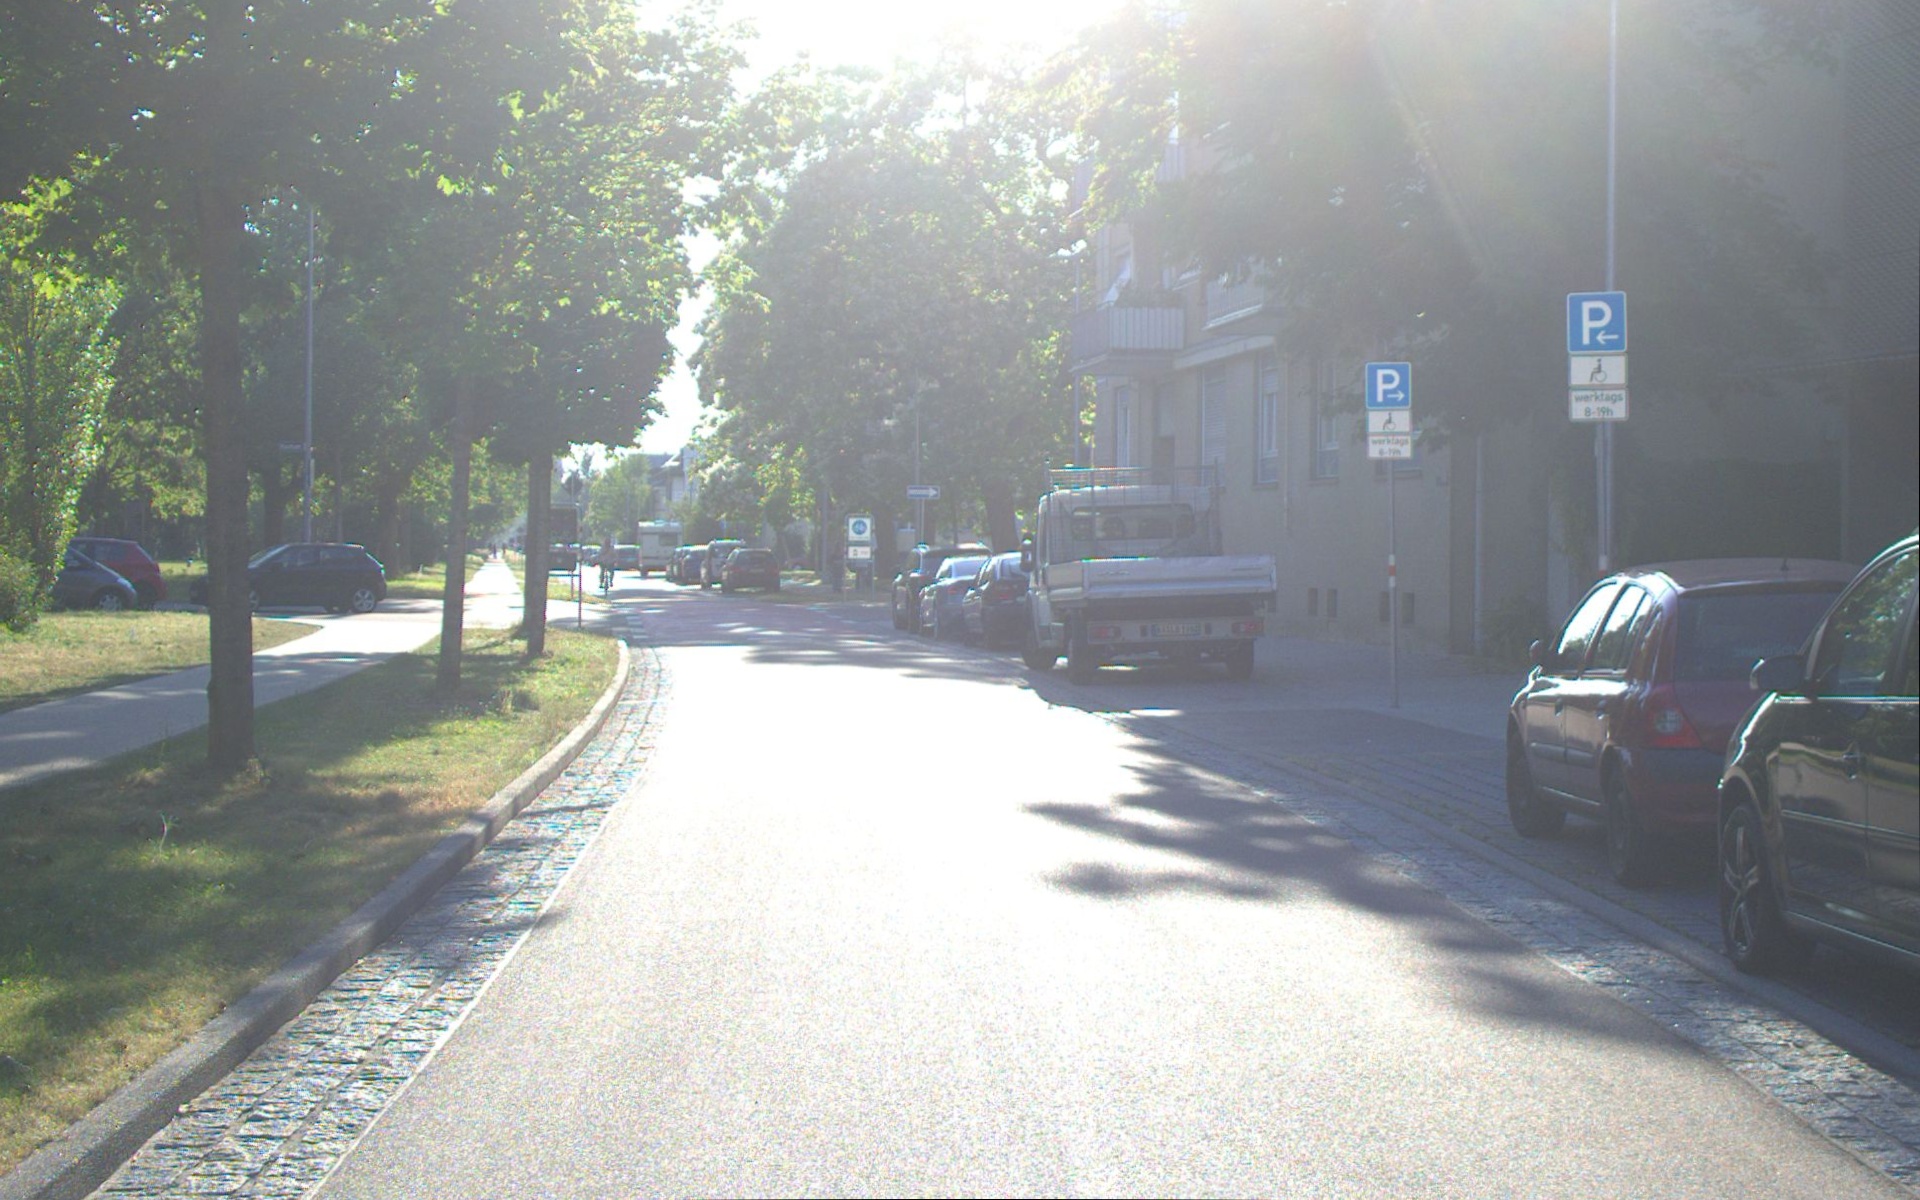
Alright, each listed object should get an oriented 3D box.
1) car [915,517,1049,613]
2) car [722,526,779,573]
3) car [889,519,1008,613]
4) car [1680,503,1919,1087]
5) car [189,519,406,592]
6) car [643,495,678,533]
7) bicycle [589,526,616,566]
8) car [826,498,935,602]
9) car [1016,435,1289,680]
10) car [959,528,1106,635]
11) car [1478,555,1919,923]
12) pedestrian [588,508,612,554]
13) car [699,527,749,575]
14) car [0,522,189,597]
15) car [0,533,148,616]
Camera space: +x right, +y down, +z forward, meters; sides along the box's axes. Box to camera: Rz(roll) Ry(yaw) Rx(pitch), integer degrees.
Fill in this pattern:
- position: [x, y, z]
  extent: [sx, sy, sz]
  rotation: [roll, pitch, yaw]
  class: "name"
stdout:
- position: [0.329, -0.605, 56.141]
  extent: [1.690, 1.435, 4.105]
  rotation: [-1, 2, -6]
  class: "car"
- position: [-6.946, -1.695, 114.348]
  extent: [1.793, 1.504, 4.001]
  rotation: [0, 2, -2]
  class: "car"
- position: [-0.246, -0.640, 62.149]
  extent: [1.690, 1.560, 4.105]
  rotation: [-1, 2, -6]
  class: "car"
- position: [3.631, 0.551, 10.676]
  extent: [1.724, 1.663, 4.115]
  rotation: [-2, 2, -3]
  class: "car"
- position: [-13.559, -0.929, 70.435]
  extent: [3.987, 1.415, 1.772]
  rotation: [-1, 2, -32]
  class: "car"
- position: [-15.701, -4.527, 180.400]
  extent: [1.793, 1.992, 4.001]
  rotation: [0, 2, -5]
  class: "car"
- position: [-11.108, -1.696, 106.854]
  extent: [0.688, 1.198, 2.343]
  rotation: [0, 2, -2]
  class: "bicycle"
- position: [-1.629, -1.028, 69.005]
  extent: [1.822, 2.006, 3.606]
  rotation: [0, 2, -7]
  class: "car"
- position: [2.103, -0.562, 39.598]
  extent: [2.211, 2.521, 6.149]
  rotation: [-2, 2, -5]
  class: "car"
- position: [1.033, -0.304, 50.860]
  extent: [1.690, 1.435, 3.551]
  rotation: [-1, 2, -6]
  class: "car"
- position: [3.675, 0.560, 16.426]
  extent: [1.724, 1.416, 3.907]
  rotation: [-1, 2, -1]
  class: "car"
- position: [-11.189, -2.141, 106.869]
  extent: [0.688, 1.429, 1.025]
  rotation: [0, 2, -2]
  class: "pedestrian"
- position: [-8.823, -1.833, 128.257]
  extent: [1.793, 1.718, 4.001]
  rotation: [0, 2, -5]
  class: "car"
- position: [-17.487, -0.827, 68.267]
  extent: [3.912, 1.415, 1.772]
  rotation: [-1, 2, -28]
  class: "car"
- position: [-16.787, -0.466, 61.668]
  extent: [3.987, 1.415, 1.772]
  rotation: [-1, 2, -31]
  class: "car"
